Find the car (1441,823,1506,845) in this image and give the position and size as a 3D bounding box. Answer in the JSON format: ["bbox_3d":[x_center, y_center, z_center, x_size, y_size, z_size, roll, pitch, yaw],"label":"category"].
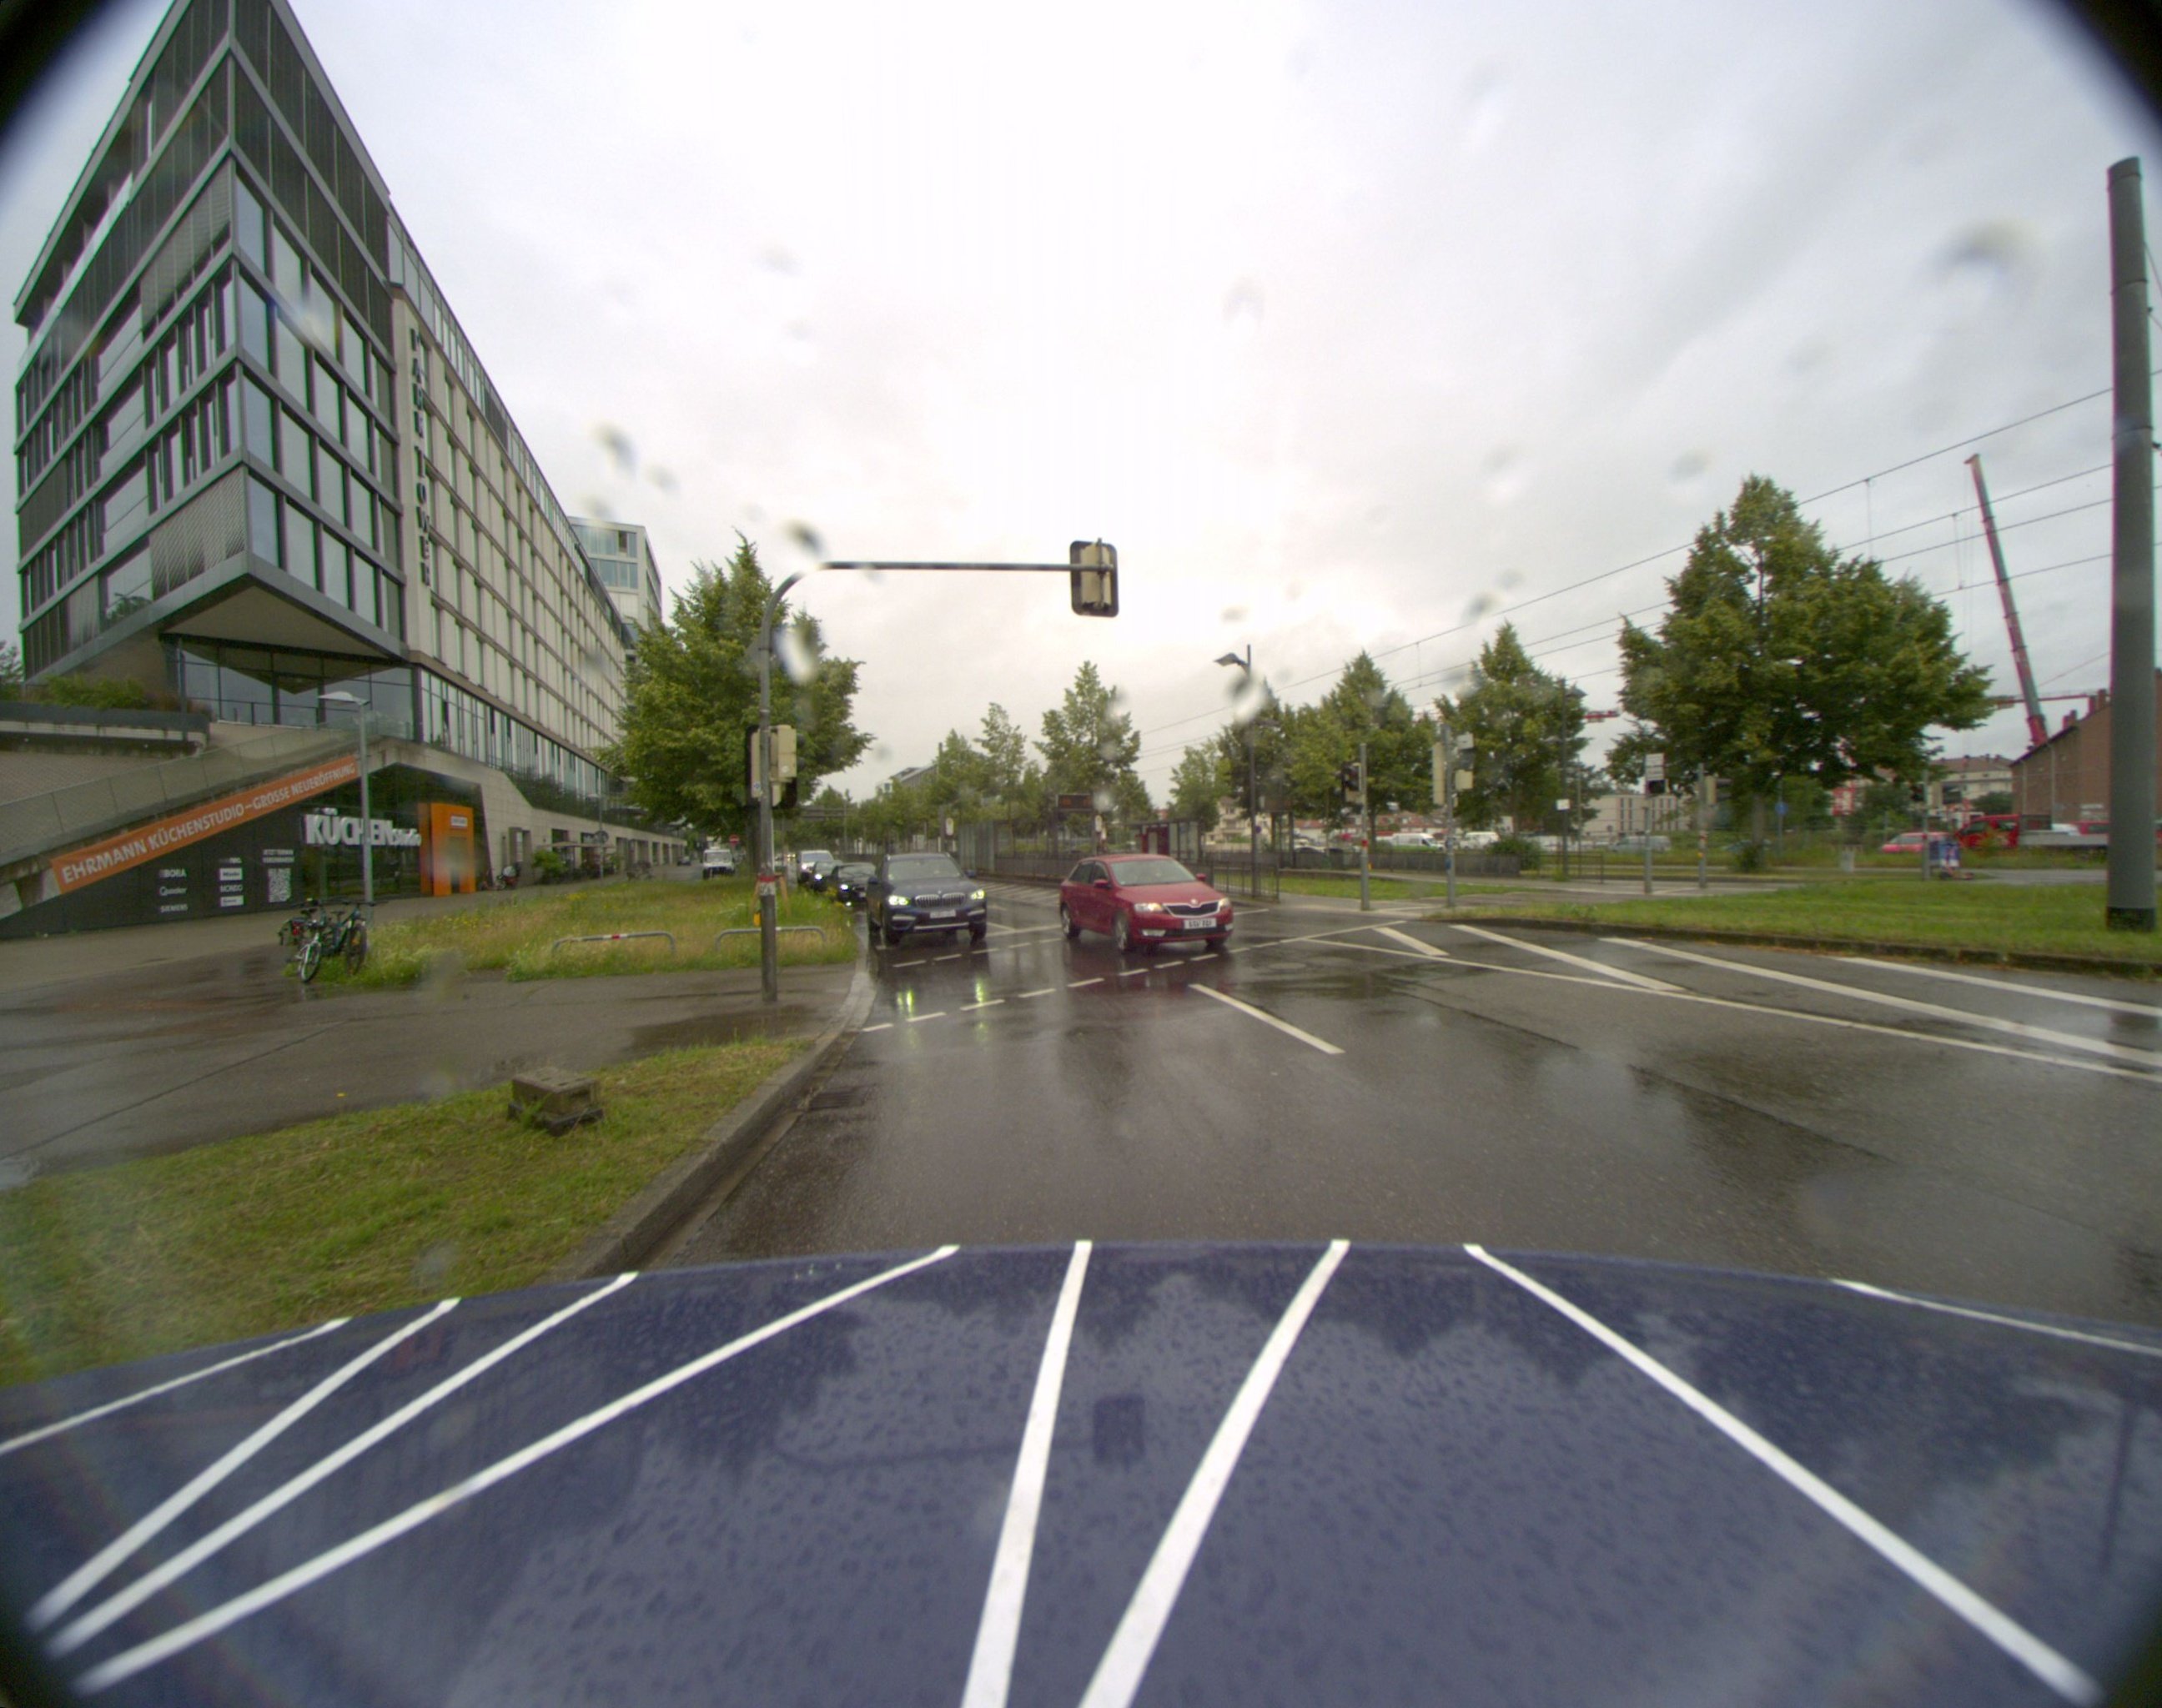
[{"bbox_3d":[47.696,-2.376,92.601,2.504,2.463,6.821,-4,2,-26],"label":"car"}]

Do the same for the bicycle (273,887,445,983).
[{"bbox_3d":[-9.804,1.071,10.299,2.520,1.182,0.554,-2,1,19],"label":"bicycle"}]

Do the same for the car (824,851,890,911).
[{"bbox_3d":[-7.882,0.850,26.529,1.919,1.737,4.375,-4,2,-19],"label":"car"}]

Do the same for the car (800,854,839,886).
[{"bbox_3d":[-15.111,0.892,43.867,1.791,1.638,3.992,-4,2,-22],"label":"car"}]

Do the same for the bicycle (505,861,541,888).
[{"bbox_3d":[-30.848,1.132,42.082,0.884,1.340,2.691,-4,2,-22],"label":"bicycle"}]

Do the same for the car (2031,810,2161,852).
[{"bbox_3d":[52.147,-1.115,37.371,2.357,2.002,6.420,-2,1,-11],"label":"car"}]

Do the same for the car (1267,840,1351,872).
[{"bbox_3d":[11.943,0.105,40.046,1.854,1.478,4.217,-4,2,-25],"label":"car"}]

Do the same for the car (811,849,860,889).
[{"bbox_3d":[-11.683,0.656,35.980,1.791,1.638,3.992,-4,2,-22],"label":"car"}]

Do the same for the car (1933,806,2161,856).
[{"bbox_3d":[45.274,-1.052,35.877,2.357,2.002,6.419,-4,2,-11],"label":"car"}]

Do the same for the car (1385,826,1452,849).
[{"bbox_3d":[40.840,-1.964,92.247,2.359,2.463,7.622,-4,2,-26],"label":"car"}]

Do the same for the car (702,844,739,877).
[{"bbox_3d":[-26.929,0.446,56.947,2.088,2.189,5.087,-4,2,-22],"label":"car"}]

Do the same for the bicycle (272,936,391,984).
[{"bbox_3d":[-9.845,1.377,9.971,1.799,0.555,0.321,-2,1,19],"label":"bicycle"}]

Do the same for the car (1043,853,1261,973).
[{"bbox_3d":[0.920,0.776,12.388,1.790,1.451,4.307,-4,2,-20],"label":"car"}]

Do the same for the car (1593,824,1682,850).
[{"bbox_3d":[55.828,-1.696,76.333,2.361,2.462,6.818,-2,1,-36],"label":"car"}]

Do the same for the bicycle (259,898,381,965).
[{"bbox_3d":[-12.043,1.189,12.113,0.637,0.842,2.159,-2,1,-25],"label":"bicycle"}]

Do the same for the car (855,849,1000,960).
[{"bbox_3d":[-3.197,0.838,15.074,1.919,1.737,4.374,-4,2,-22],"label":"car"}]

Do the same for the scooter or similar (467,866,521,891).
[{"bbox_3d":[-29.915,1.236,38.790,0.812,1.093,2.612,-4,2,-5],"label":"scooter or similar"}]
